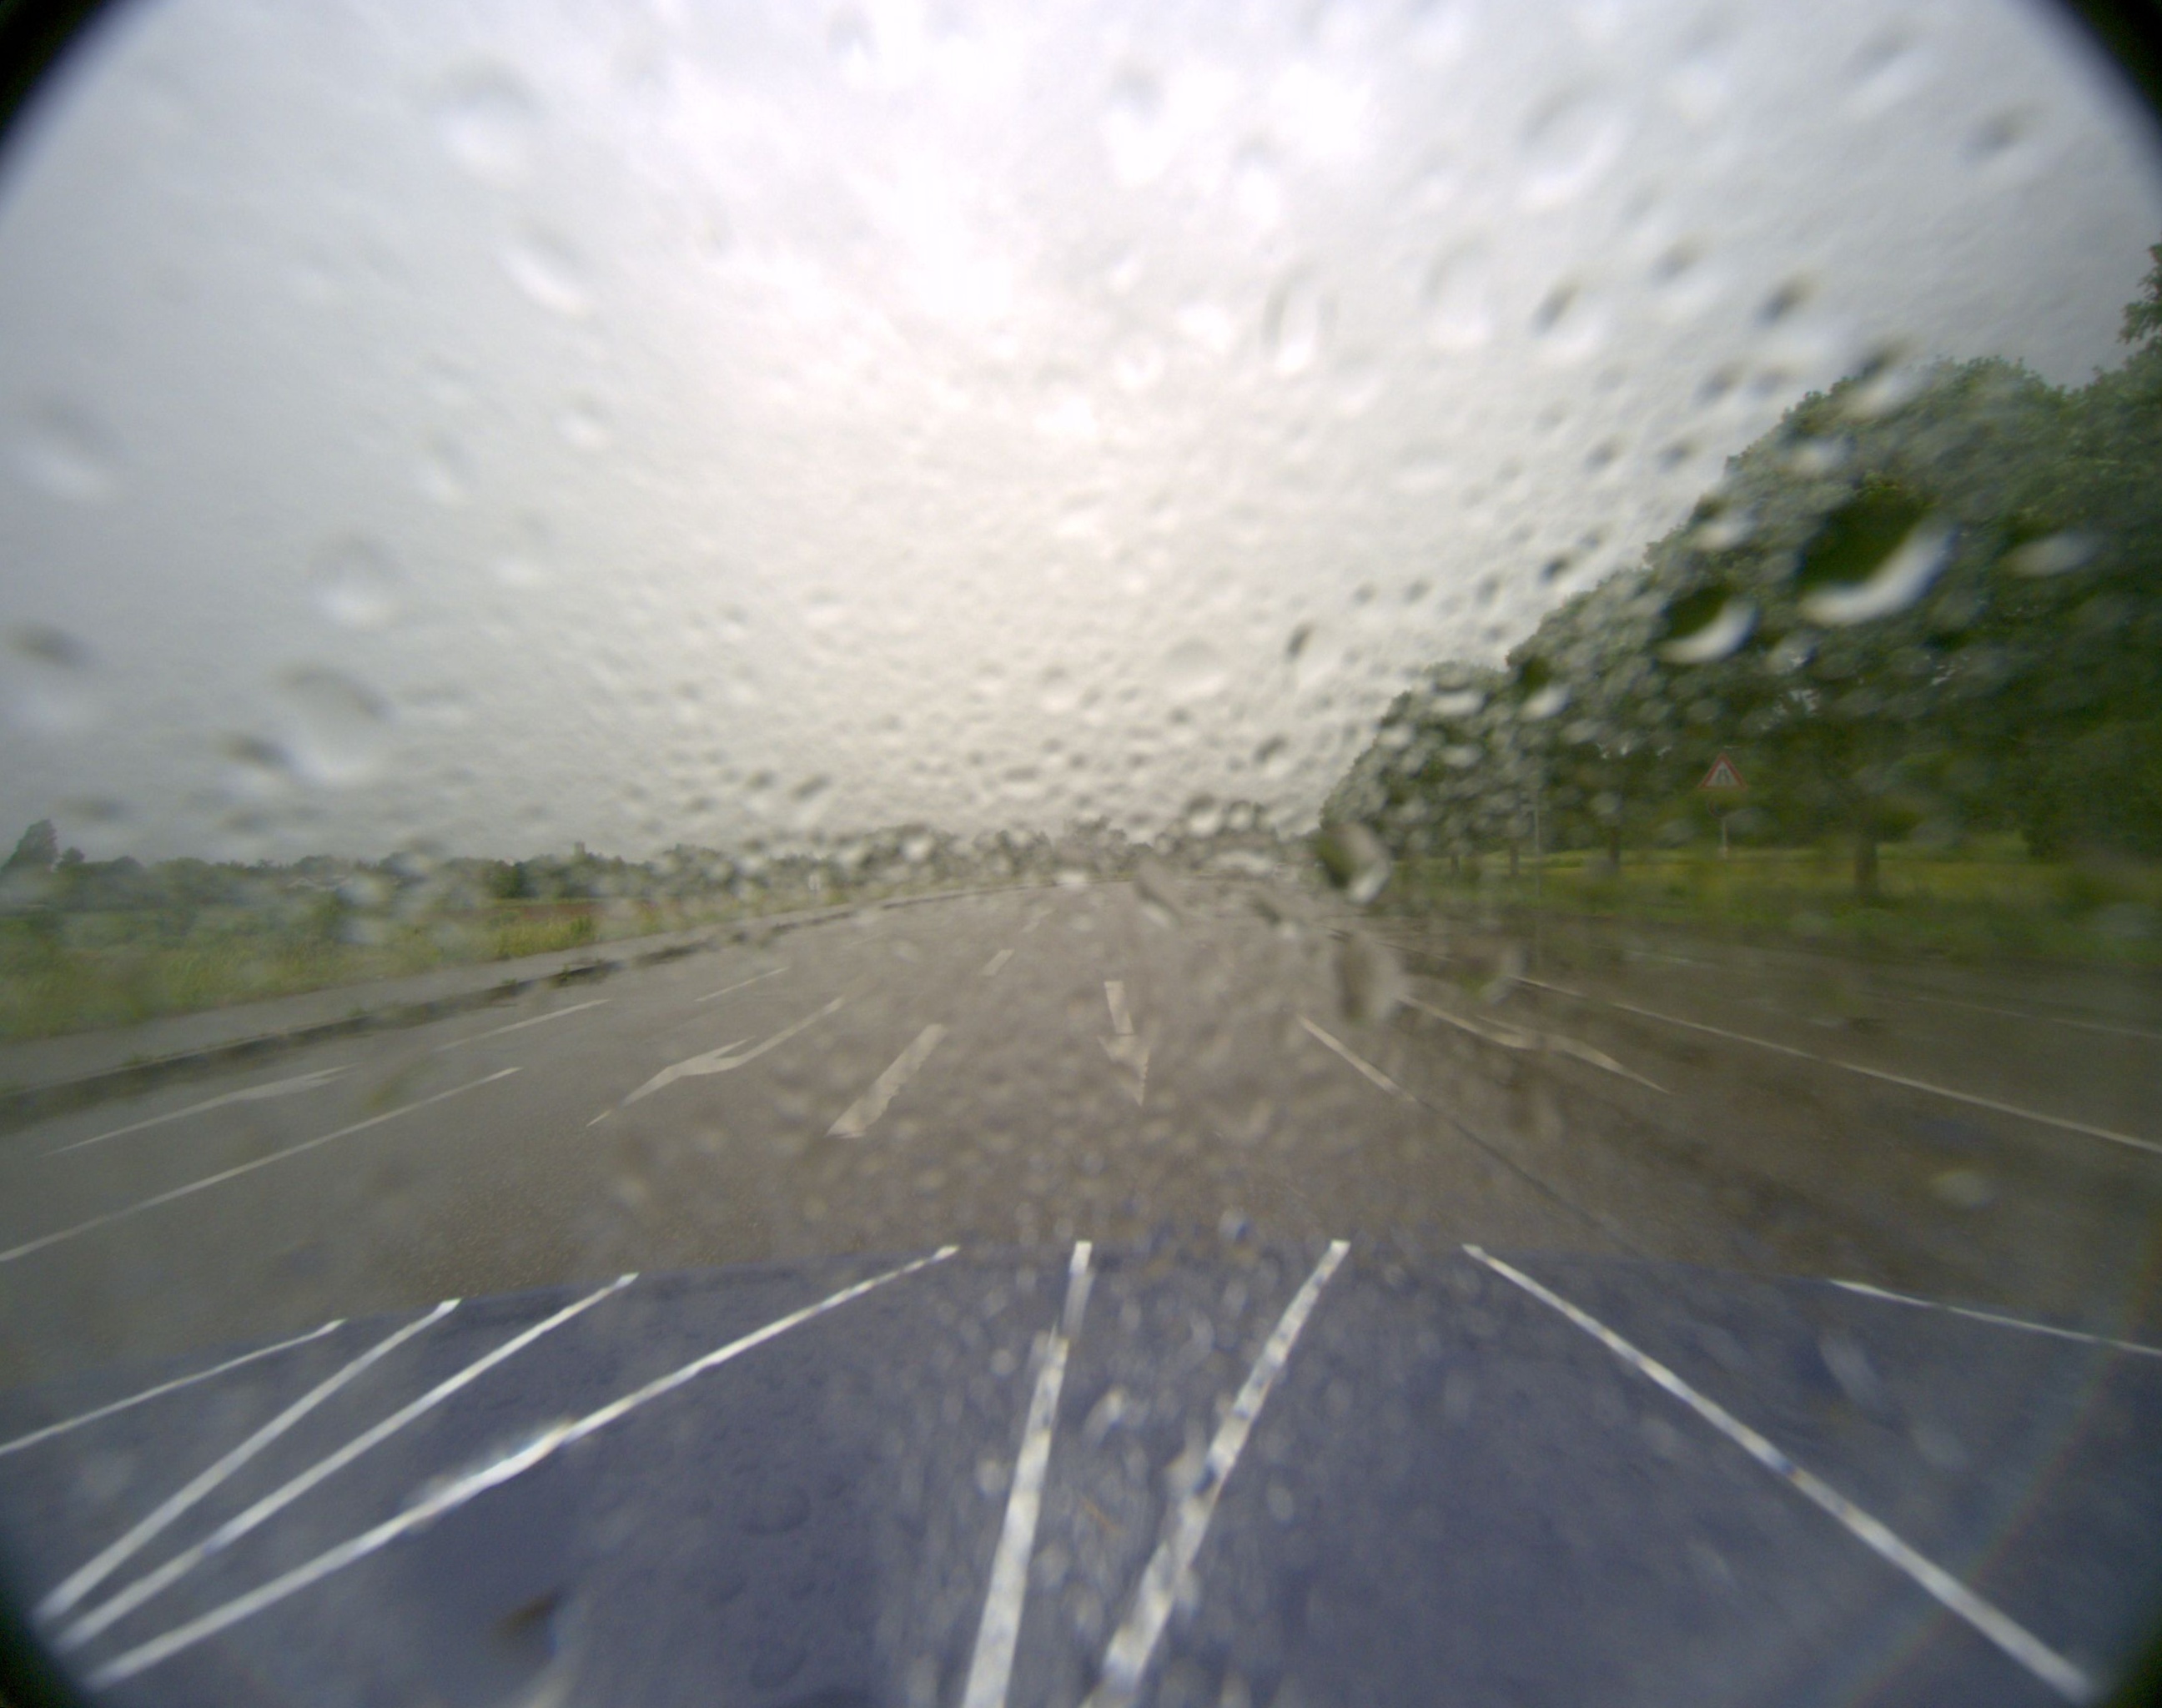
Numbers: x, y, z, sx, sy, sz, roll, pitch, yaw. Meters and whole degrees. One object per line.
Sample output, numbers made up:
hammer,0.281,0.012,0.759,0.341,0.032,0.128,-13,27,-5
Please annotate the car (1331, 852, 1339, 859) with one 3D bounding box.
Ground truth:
car,64.941,0.282,194.325,1.926,1.733,4.294,0,0,18

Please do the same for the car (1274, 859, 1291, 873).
car,23.897,1.356,90.148,1.881,1.564,4.649,0,0,14

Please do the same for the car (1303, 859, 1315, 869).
car,39.605,1.753,131.934,1.887,1.578,4.123,-3,0,17

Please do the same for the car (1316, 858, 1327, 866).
car,46.181,1.539,145.736,1.741,1.478,4.017,0,0,21
